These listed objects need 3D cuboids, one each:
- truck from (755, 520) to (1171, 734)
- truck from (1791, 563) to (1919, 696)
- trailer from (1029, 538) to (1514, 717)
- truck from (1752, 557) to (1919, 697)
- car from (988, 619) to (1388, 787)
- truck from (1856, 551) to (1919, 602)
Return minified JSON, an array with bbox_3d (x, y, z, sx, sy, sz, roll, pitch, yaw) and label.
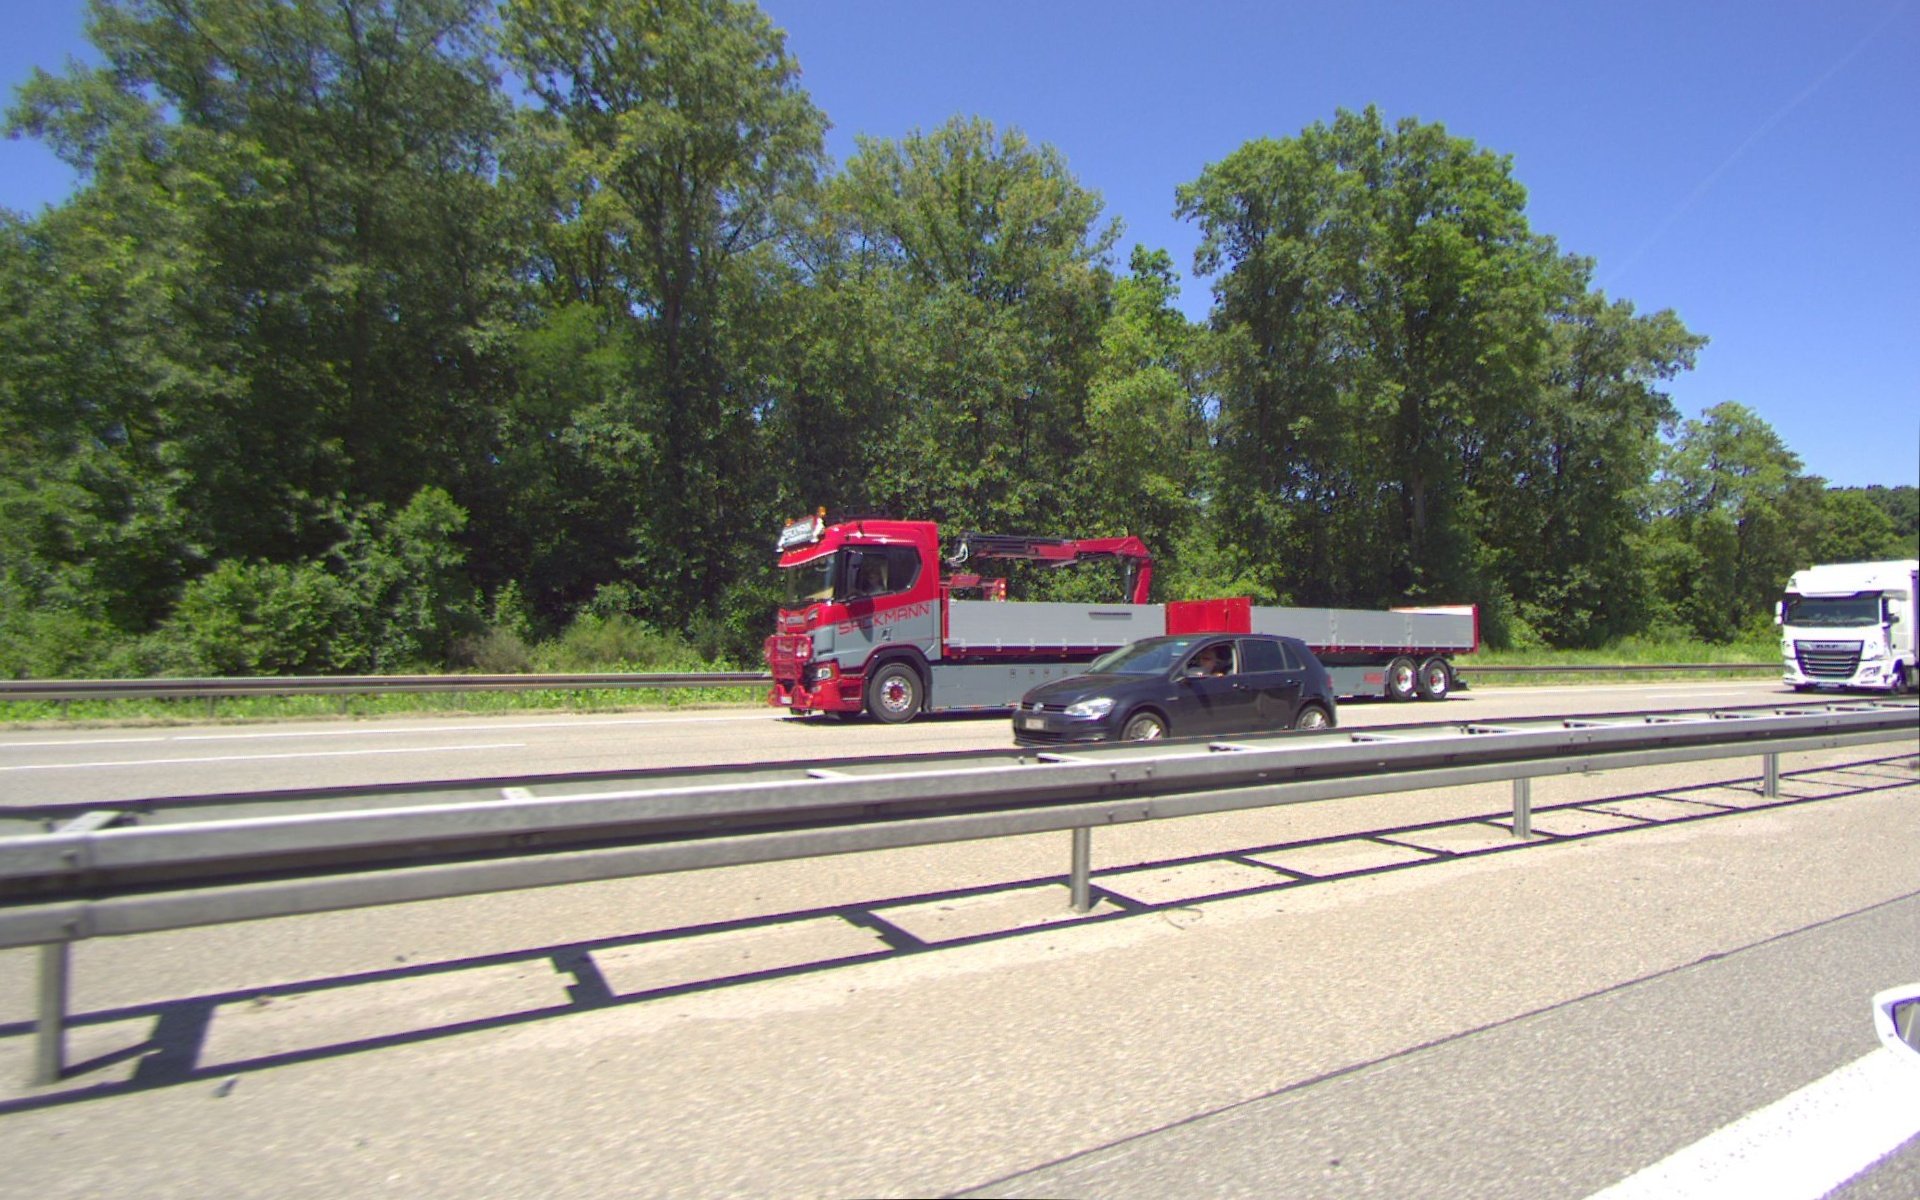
[{"bbox_3d":[0.200,0.551,19.252,7.572,3.438,2.736,2,0,-30],"label":"truck"},{"bbox_3d":[34.266,1.108,35.498,13.774,4.072,2.972,2,0,-31],"label":"truck"},{"bbox_3d":[7.875,0.734,23.760,13.135,3.438,2.766,2,0,-30],"label":"trailer"},{"bbox_3d":[28.505,0.877,32.087,5.971,4.072,2.972,2,0,-30],"label":"truck"},{"bbox_3d":[2.777,1.110,11.895,4.614,1.612,1.798,2,0,-30],"label":"car"},{"bbox_3d":[109.025,-2.547,109.720,3.145,5.639,16.342,2,0,-36],"label":"truck"}]
